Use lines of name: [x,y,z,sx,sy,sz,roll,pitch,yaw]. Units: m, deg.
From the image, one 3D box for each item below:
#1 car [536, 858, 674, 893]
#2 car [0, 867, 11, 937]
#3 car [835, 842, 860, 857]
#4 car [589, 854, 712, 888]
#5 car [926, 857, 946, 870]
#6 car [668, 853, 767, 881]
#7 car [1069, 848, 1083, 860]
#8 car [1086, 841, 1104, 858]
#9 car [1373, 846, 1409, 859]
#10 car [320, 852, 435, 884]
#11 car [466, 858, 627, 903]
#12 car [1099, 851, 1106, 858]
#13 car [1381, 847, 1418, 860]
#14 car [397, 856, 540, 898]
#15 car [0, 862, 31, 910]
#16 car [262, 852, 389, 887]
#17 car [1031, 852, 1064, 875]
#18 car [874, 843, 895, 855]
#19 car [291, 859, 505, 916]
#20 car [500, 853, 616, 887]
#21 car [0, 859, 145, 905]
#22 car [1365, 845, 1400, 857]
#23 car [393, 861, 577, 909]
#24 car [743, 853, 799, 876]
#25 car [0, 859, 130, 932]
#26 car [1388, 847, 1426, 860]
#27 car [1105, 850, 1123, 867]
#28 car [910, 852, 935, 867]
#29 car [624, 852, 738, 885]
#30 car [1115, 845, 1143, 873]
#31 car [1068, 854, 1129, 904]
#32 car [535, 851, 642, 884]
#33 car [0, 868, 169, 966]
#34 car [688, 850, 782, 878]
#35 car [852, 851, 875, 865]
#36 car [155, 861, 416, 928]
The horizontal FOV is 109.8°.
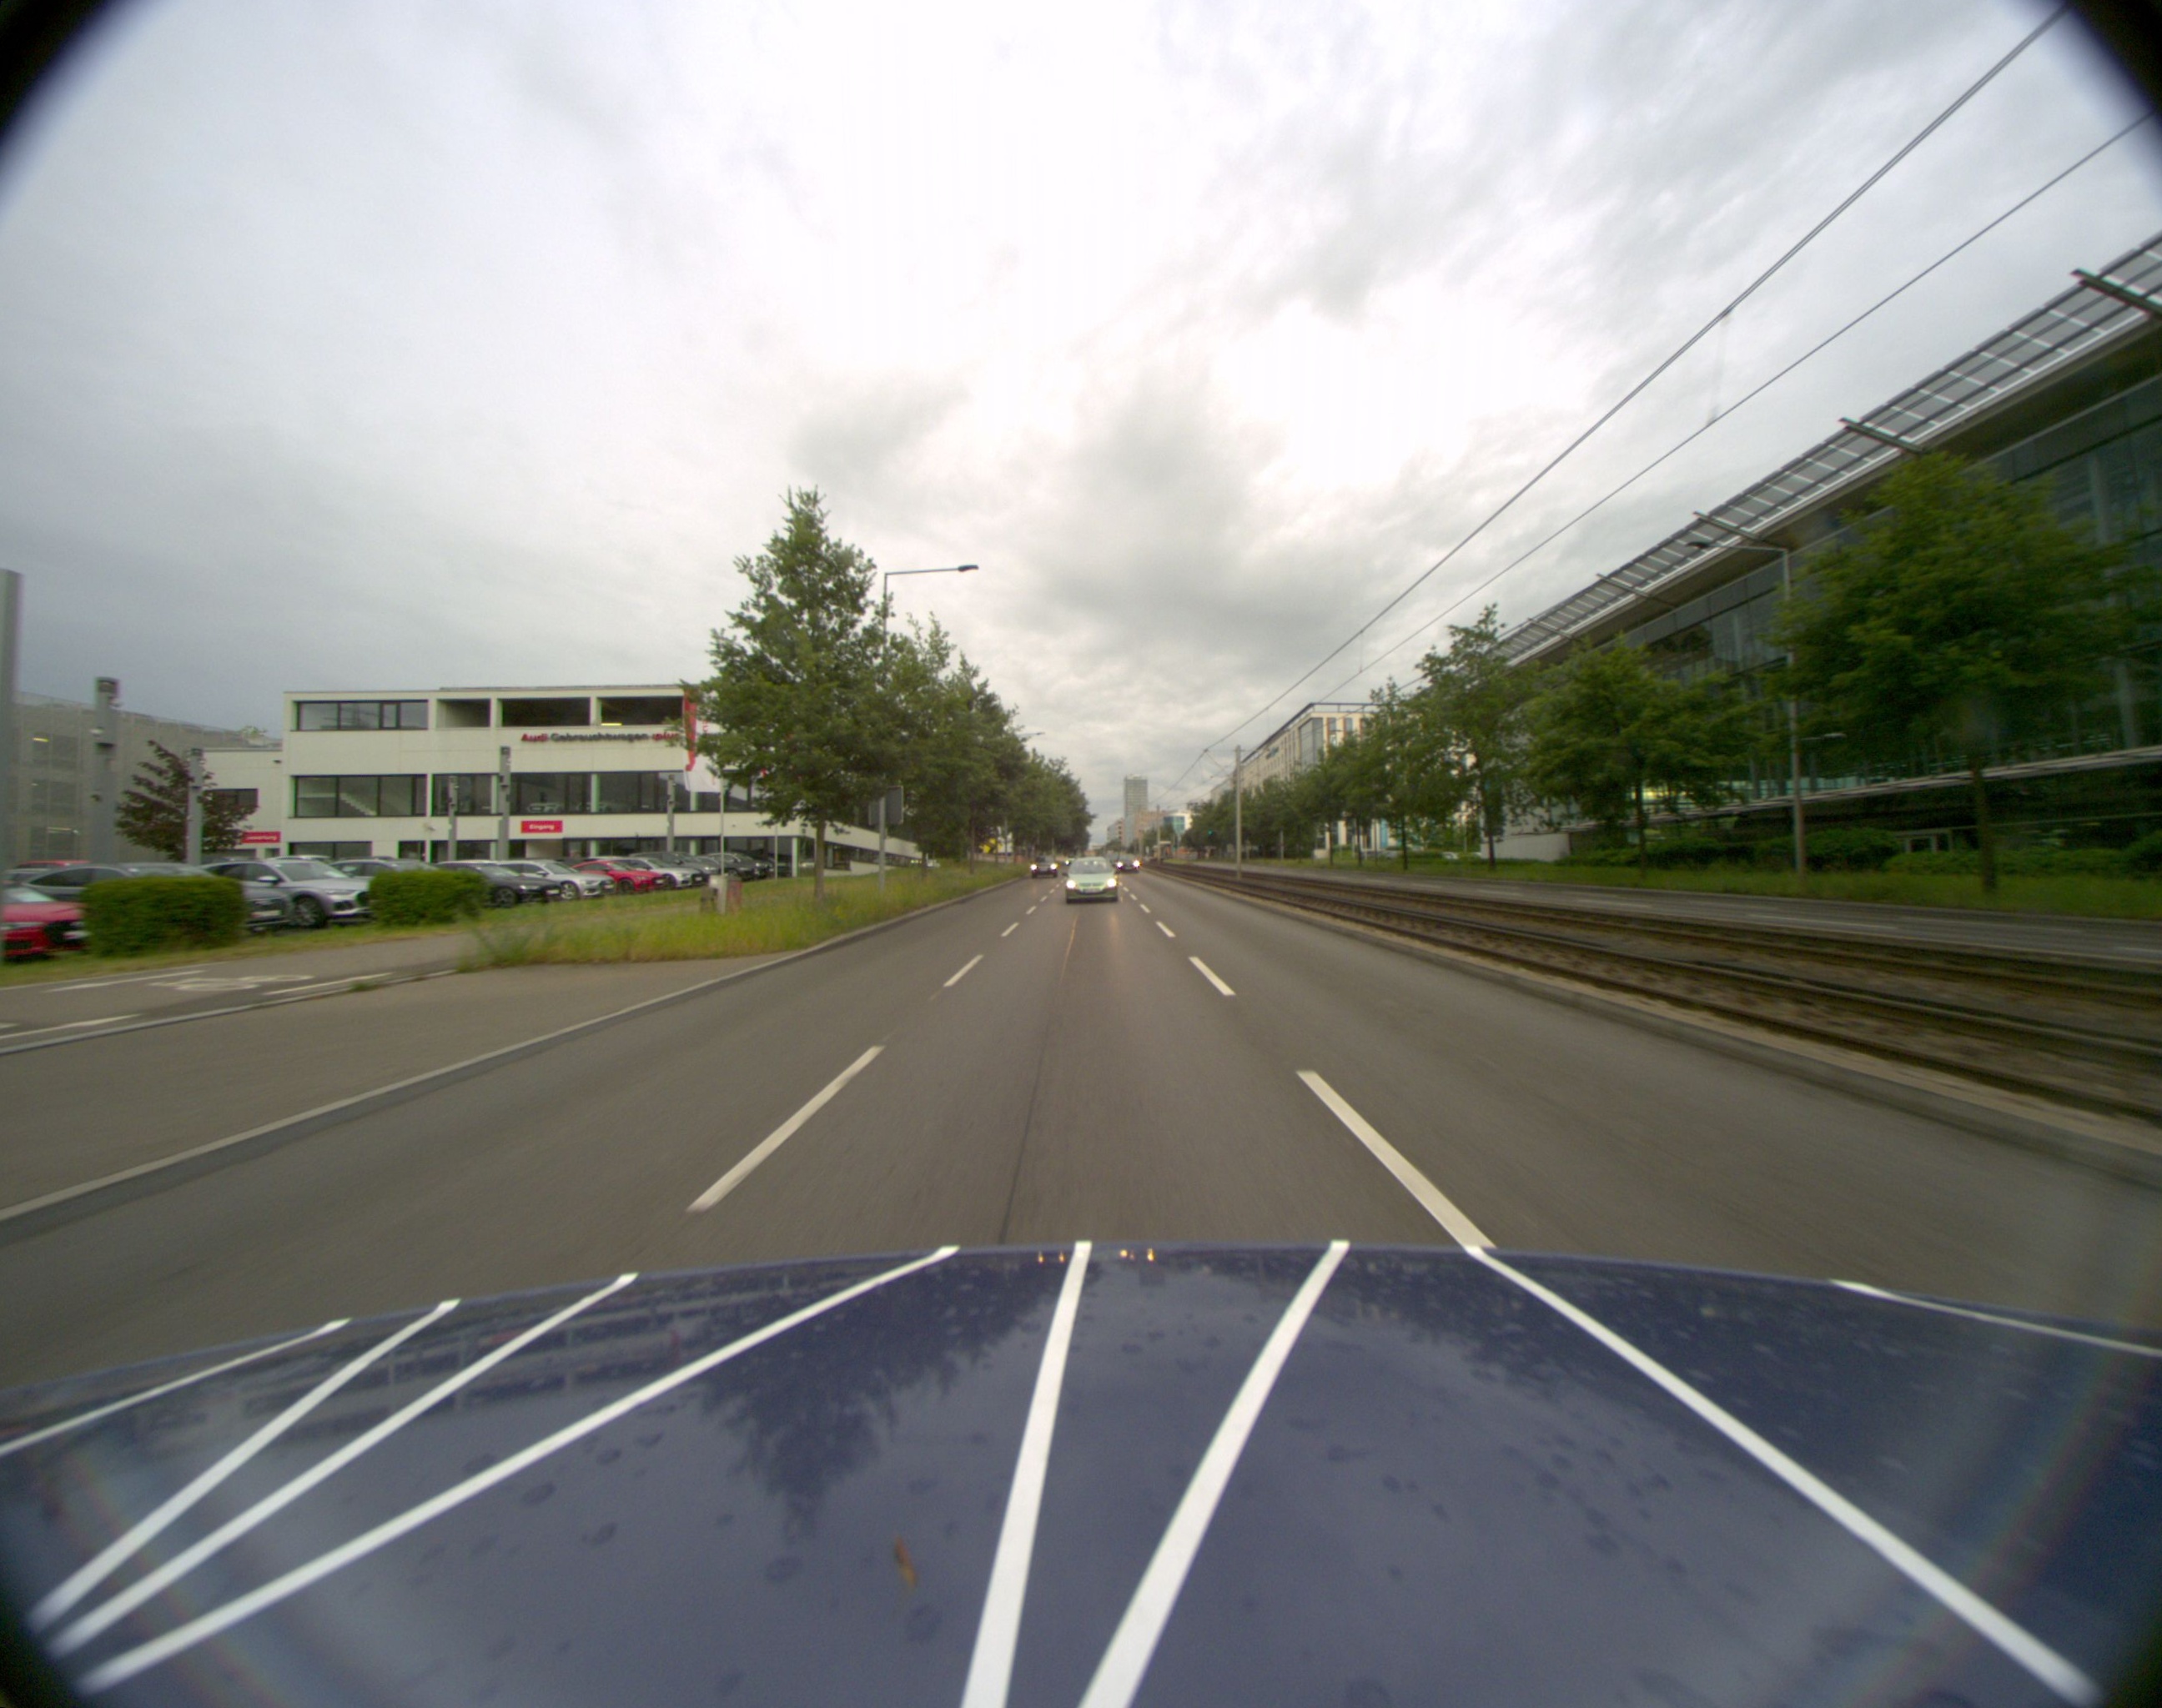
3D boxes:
car: [-19.451,0.877,31.205,4.408,1.341,1.930,0,2,0]
car: [-26.298,1.092,16.005,4.474,1.542,1.930,0,1,-4]
car: [-28.205,-0.523,91.806,1.702,1.666,3.641,-3,1,0]
car: [-19.166,0.727,33.953,4.408,1.419,1.890,0,1,1]
car: [-18.611,1.186,97.724,1.702,1.476,4.460,-3,1,0]
car: [-19.136,0.686,40.125,4.330,1.370,1.836,-1,1,-2]
car: [-0.771,0.004,118.764,1.860,1.799,4.116,-2,-1,3]
car: [1.813,-0.586,96.493,1.998,2.002,4.000,-3,1,4]
car: [39.447,-0.216,96.696,3.990,1.383,1.767,-3,1,28]
car: [-37.229,0.714,40.288,4.288,1.584,1.826,-1,1,-1]
car: [-19.531,0.939,27.904,4.472,1.447,1.931,-1,1,0]
car: [6.586,0.085,228.221,1.998,1.838,4.000,-3,1,3]
car: [39.135,-0.082,93.304,3.990,1.383,1.806,-3,1,28]
car: [-25.055,0.924,31.175,4.288,1.542,1.826,-1,1,-1]
car: [-38.320,1.110,25.192,4.288,1.584,1.826,-1,1,-1]
car: [-36.876,0.741,37.168,4.288,1.584,1.826,-1,1,-1]
car: [-2.445,0.719,55.981,1.828,1.599,4.116,-2,-1,5]
car: [-25.833,-0.701,100.002,1.702,1.476,3.641,-3,1,0]
car: [-19.810,0.932,22.204,4.472,1.520,1.931,0,1,0]
car: [-25.498,0.760,37.157,4.288,1.542,1.826,-1,1,-1]
car: [-38.408,1.043,28.460,4.288,1.584,1.826,-1,1,-1]
car: [39.599,-0.343,99.827,3.990,1.383,1.806,-3,1,28]
car: [-19.438,0.989,24.919,4.472,1.447,1.931,0,1,0]
car: [-19.318,0.629,47.530,1.902,1.330,3.921,-1,1,0]
car: [-27.078,0.987,18.958,3.998,1.640,1.999,1,1,-3]
car: [38.960,-0.037,90.777,3.990,1.383,1.806,-3,1,28]
car: [3.764,0.503,86.286,1.860,1.799,4.116,-2,-1,5]
car: [-18.823,0.635,90.300,1.907,1.666,4.589,0,1,0]
car: [-19.272,0.665,36.767,4.408,1.492,2.040,0,1,1]
car: [3.823,0.340,60.140,1.998,2.002,4.000,-3,1,4]
car: [0.675,0.830,26.298,1.828,1.499,4.116,-3,-1,4]
car: [-25.575,0.690,39.577,4.288,1.542,1.826,-1,1,-1]
car: [-19.488,1.085,13.275,4.474,1.542,1.930,-1,1,-4]
car: [-19.570,0.567,43.151,4.408,1.473,1.931,-1,1,0]
car: [-26.201,0.461,91.695,1.702,1.666,3.521,1,1,0]
car: [-19.818,0.975,19.092,4.472,1.542,1.931,0,1,0]
